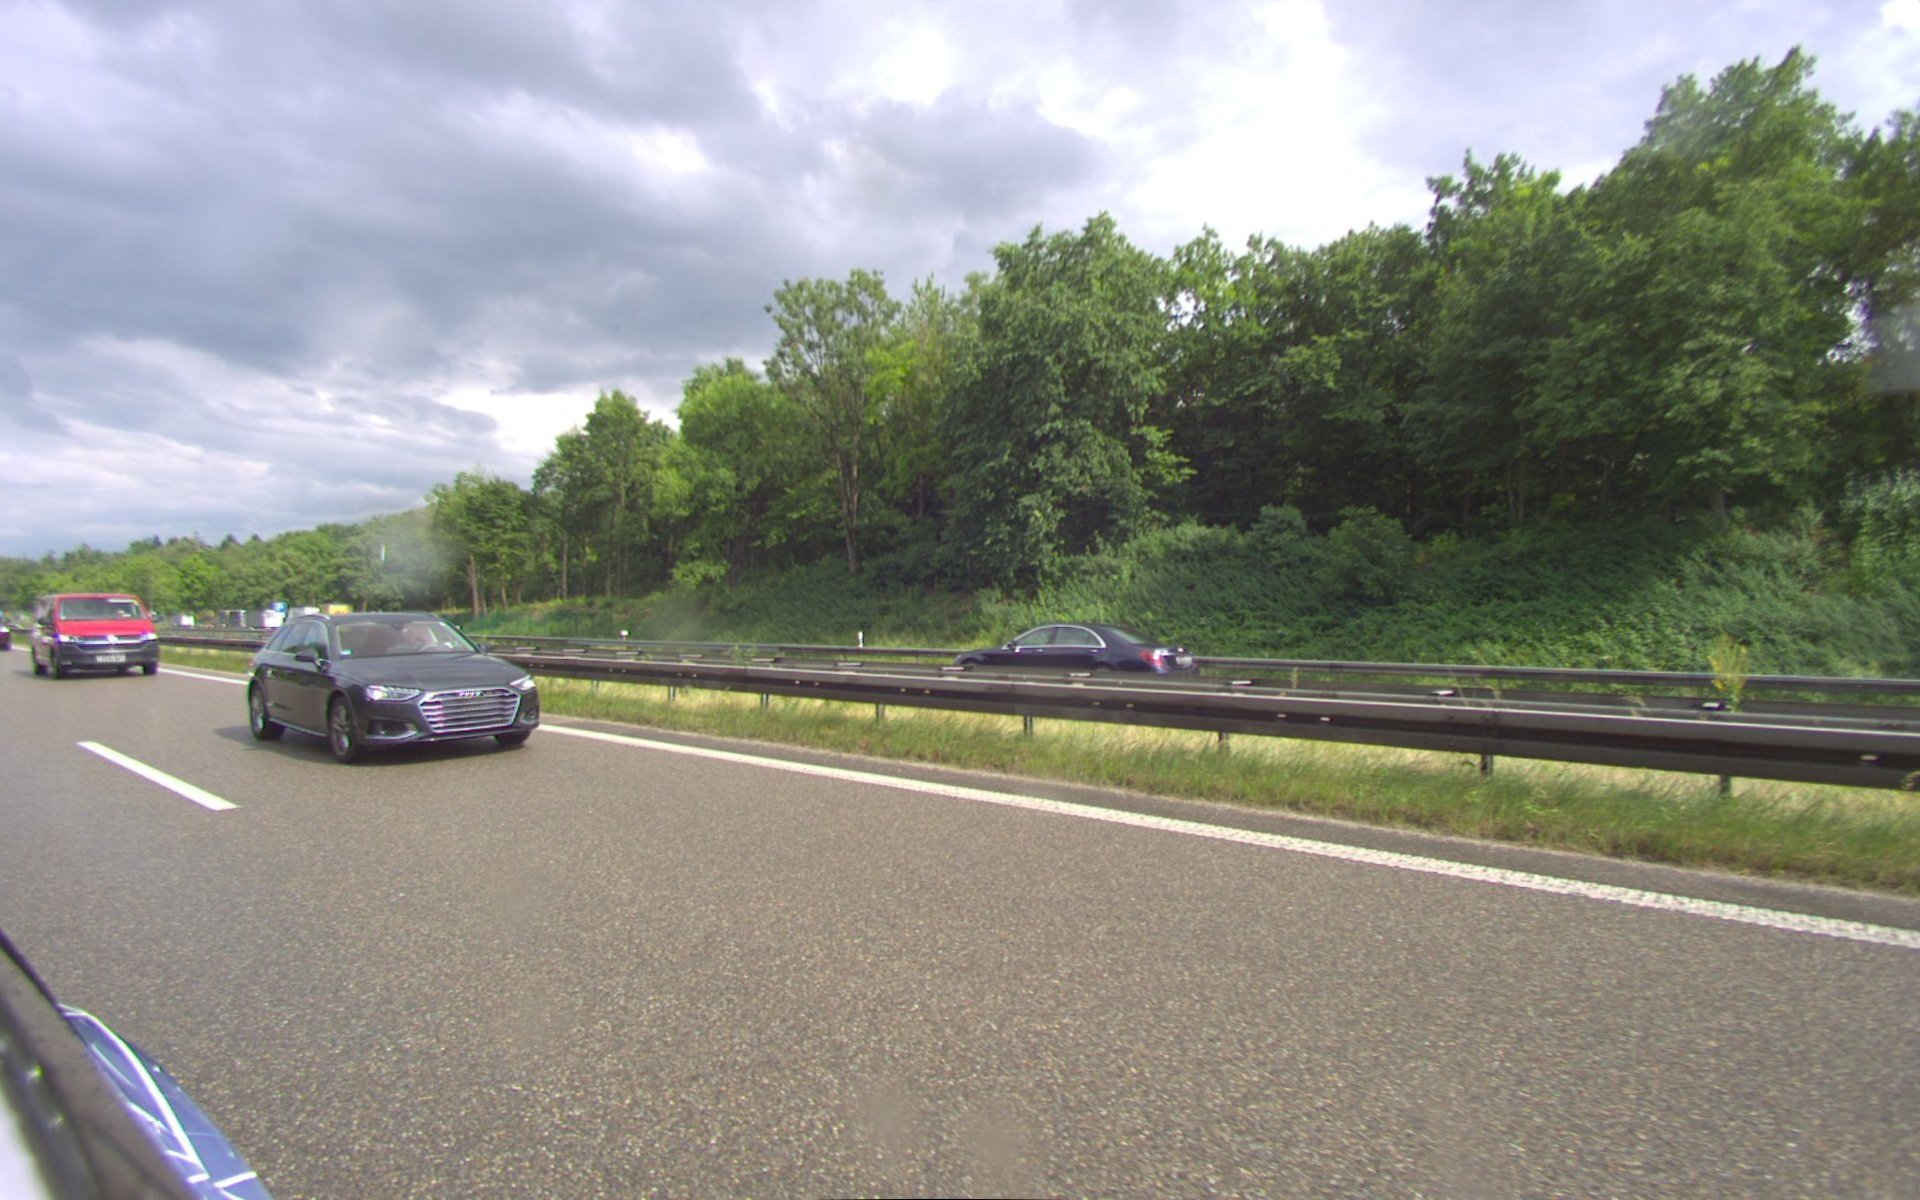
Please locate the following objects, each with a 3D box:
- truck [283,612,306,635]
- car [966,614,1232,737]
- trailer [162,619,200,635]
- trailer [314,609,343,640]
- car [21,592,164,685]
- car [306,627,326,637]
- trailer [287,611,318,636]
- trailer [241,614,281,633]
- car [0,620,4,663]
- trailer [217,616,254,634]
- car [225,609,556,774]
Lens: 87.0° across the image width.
[{"bbox_3d":[-104.988,3.722,159.539,2.136,3.648,5.585,2,-3,-42],"label":"truck"},{"bbox_3d":[2.541,1.299,19.311,4.730,2.029,1.973,-1,0,41],"label":"car"},{"bbox_3d":[-164.036,5.611,213.009,12.630,3.296,3.154,-1,-2,38],"label":"trailer"},{"bbox_3d":[-81.898,3.099,131.063,1.967,3.723,13.688,0,0,-37],"label":"trailer"},{"bbox_3d":[-20.628,0.876,24.006,4.747,2.000,1.871,-1,-1,40],"label":"car"},{"bbox_3d":[-92.774,4.585,145.808,1.871,1.514,4.005,2,-2,-42],"label":"car"},{"bbox_3d":[-100.251,3.572,154.211,2.156,3.627,11.733,2,-2,-42],"label":"trailer"},{"bbox_3d":[-123.340,4.190,178.497,12.172,3.217,2.987,-1,-2,43],"label":"trailer"},{"bbox_3d":[-39.681,1.646,40.298,4.292,1.682,1.871,-1,-1,40],"label":"car"},{"bbox_3d":[-136.917,4.791,191.110,12.639,3.296,2.577,-1,-3,40],"label":"trailer"},{"bbox_3d":[-6.333,0.842,11.023,4.464,1.422,1.702,-1,0,41],"label":"car"}]
